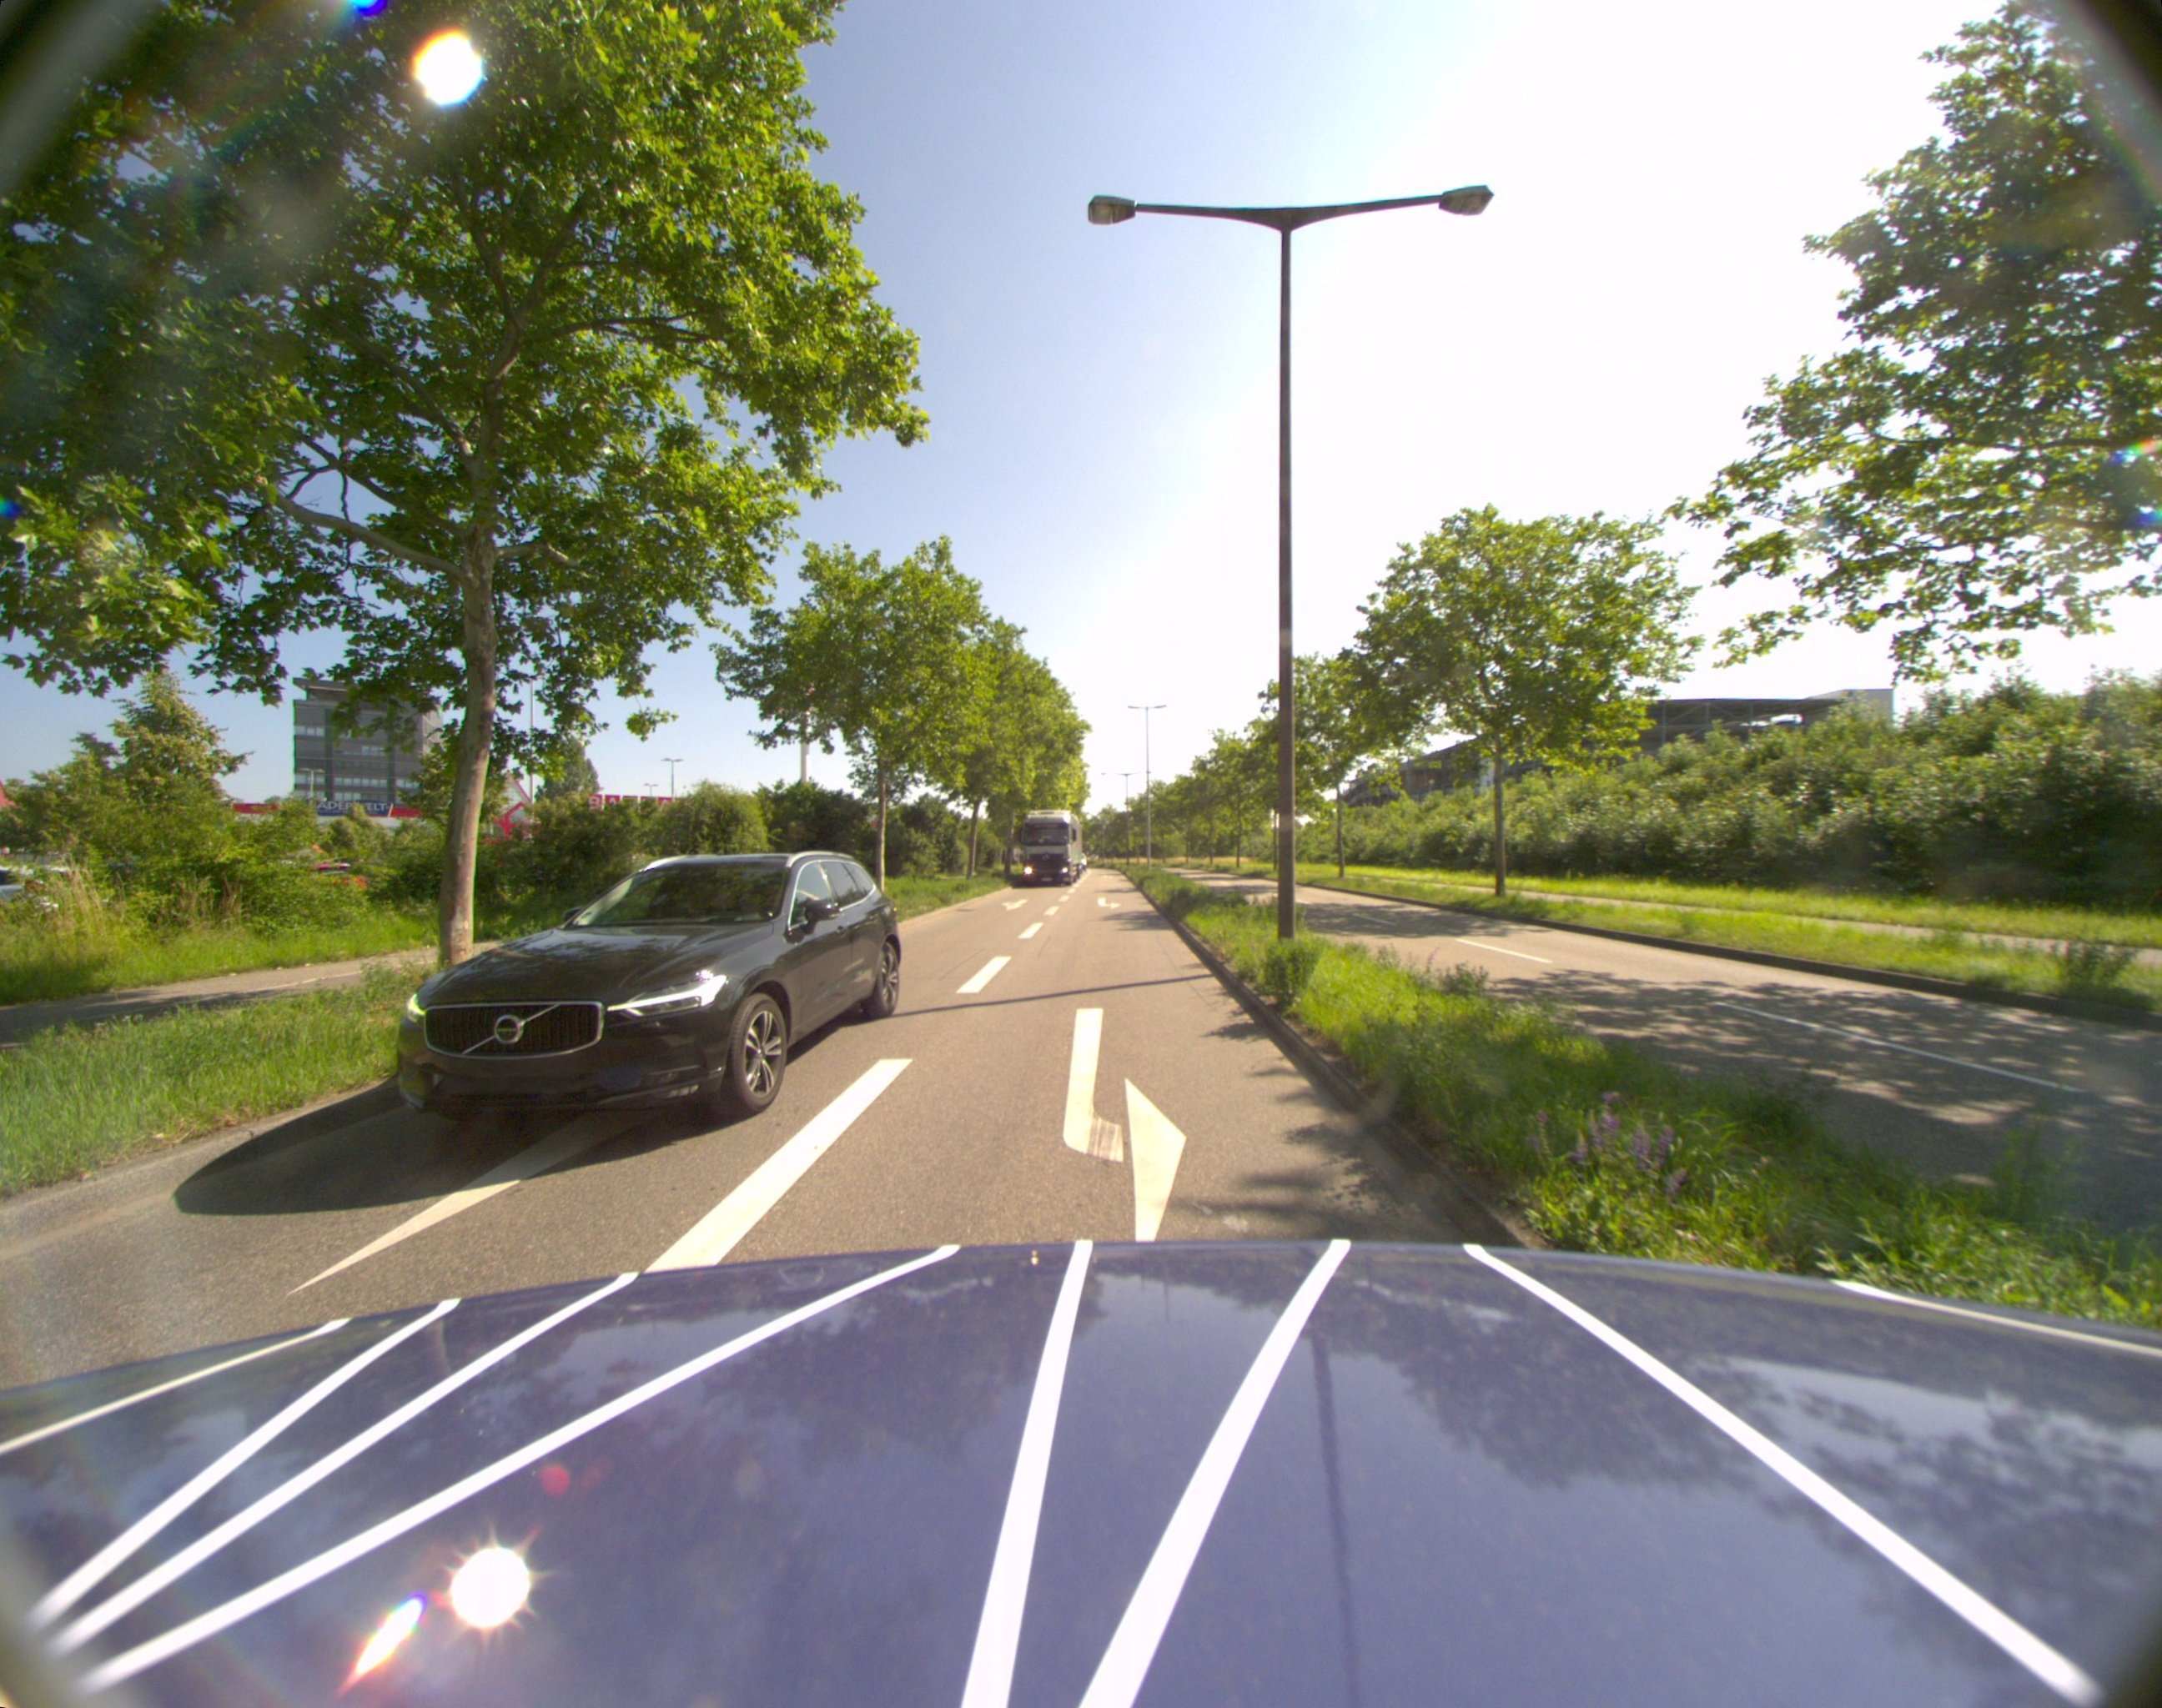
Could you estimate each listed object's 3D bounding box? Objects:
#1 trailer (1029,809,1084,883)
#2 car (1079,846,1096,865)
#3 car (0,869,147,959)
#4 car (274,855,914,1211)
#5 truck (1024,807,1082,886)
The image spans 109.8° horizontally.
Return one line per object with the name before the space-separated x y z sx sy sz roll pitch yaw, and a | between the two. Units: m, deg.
trailer | -1.319 -0.490 47.176 2.805 4.023 10.796 -1 1 1
car | 0.722 0.146 82.471 1.691 1.893 4.000 -1 1 1
car | -21.963 1.215 15.440 3.558 1.686 1.718 -2 1 -4
car | -2.813 0.858 5.894 1.924 1.613 4.564 -1 1 1
truck | -1.402 -0.394 40.818 2.741 3.872 5.851 -1 1 1
